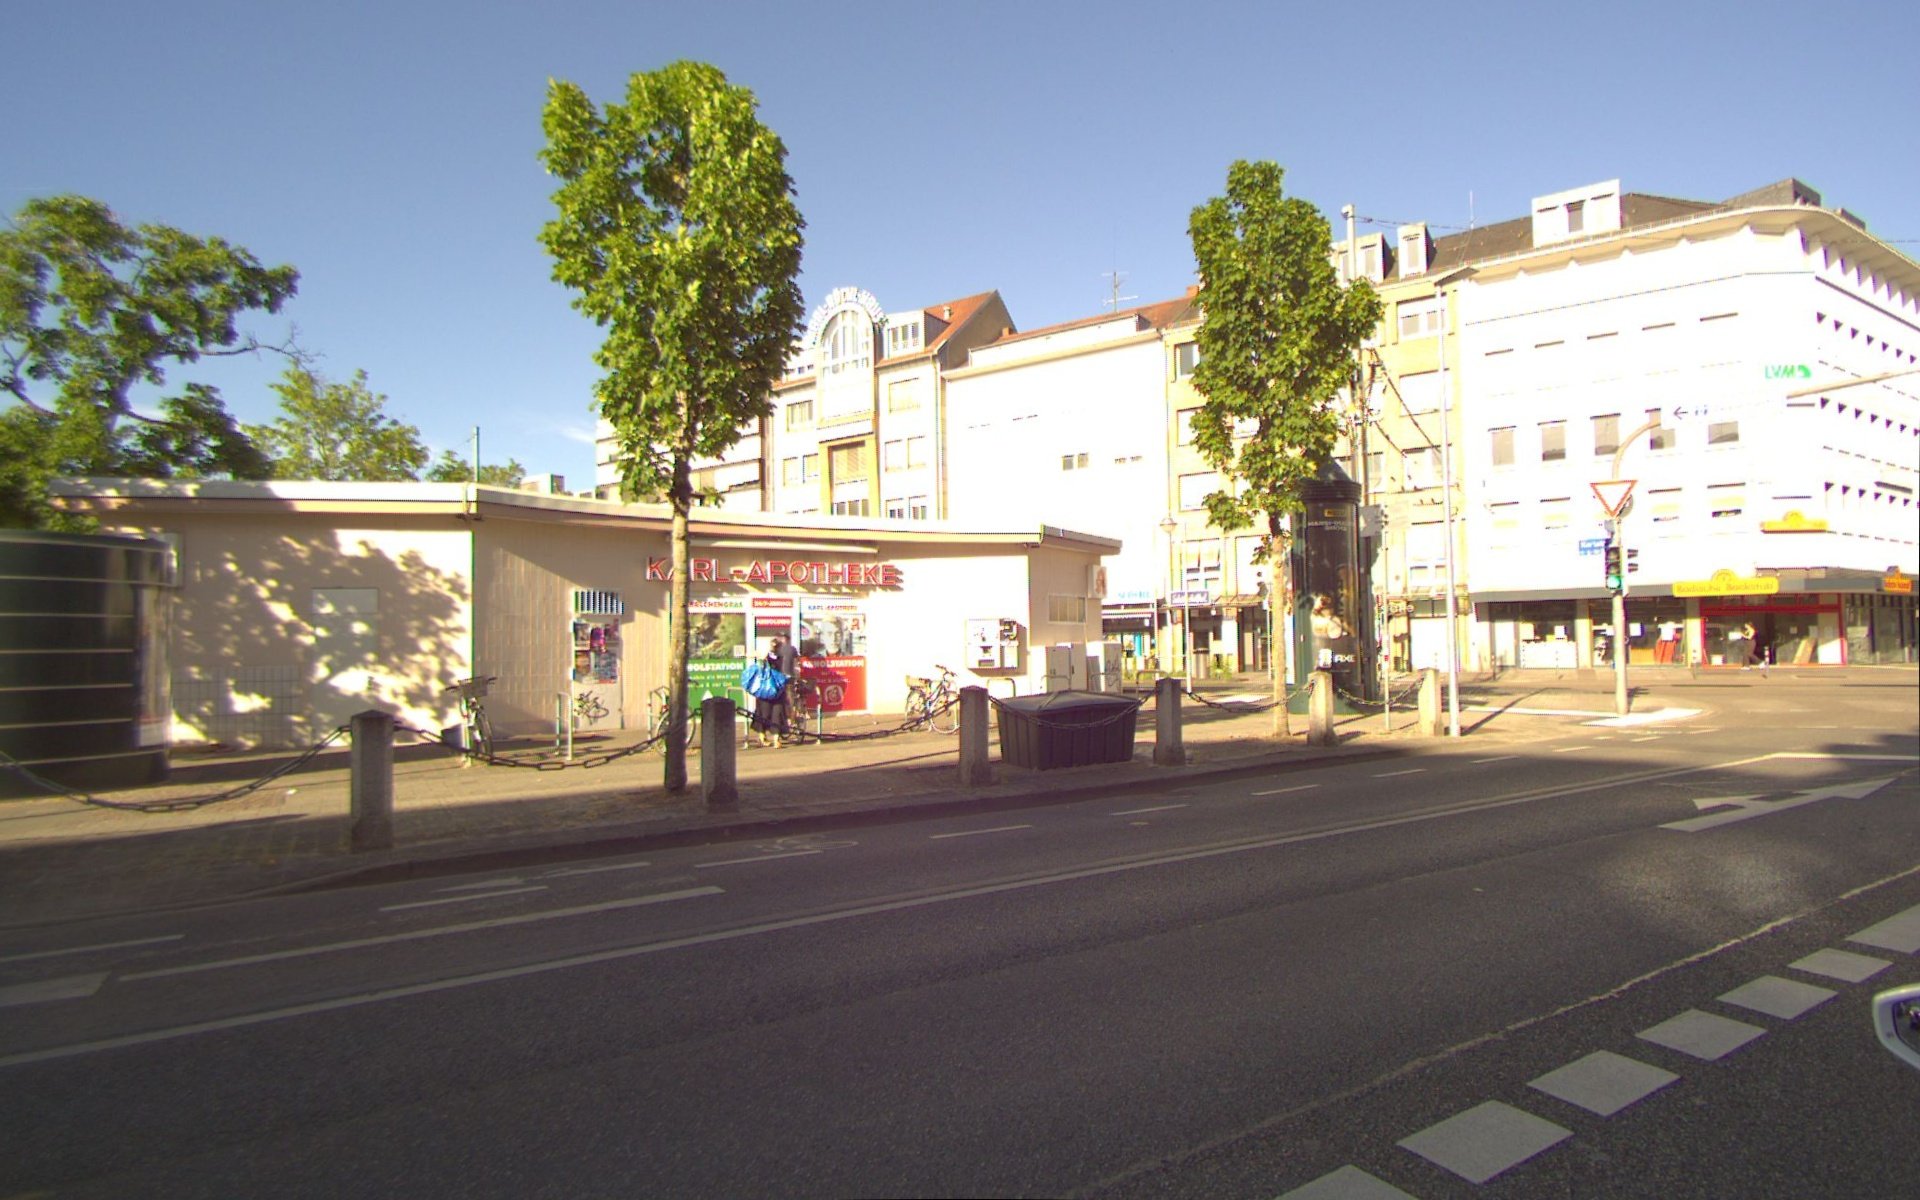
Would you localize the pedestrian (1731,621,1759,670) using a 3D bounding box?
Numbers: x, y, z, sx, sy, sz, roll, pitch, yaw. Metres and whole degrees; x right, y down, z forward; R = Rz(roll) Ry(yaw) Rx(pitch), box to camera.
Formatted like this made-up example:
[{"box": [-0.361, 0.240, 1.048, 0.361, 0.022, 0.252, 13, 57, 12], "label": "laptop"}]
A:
[{"box": [28.258, 1.641, 36.160, 0.705, 1.731, 0.555, 1, -4, -35], "label": "pedestrian"}]

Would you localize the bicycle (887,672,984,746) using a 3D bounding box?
[{"box": [-0.440, 1.772, 16.725, 0.745, 1.102, 1.979, 0, -3, -30], "label": "bicycle"}]

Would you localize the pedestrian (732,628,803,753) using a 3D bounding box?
[{"box": [-2.818, 1.289, 14.630, 0.888, 1.720, 1.082, 0, -2, -18], "label": "pedestrian"}]

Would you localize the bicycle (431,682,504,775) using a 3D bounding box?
[{"box": [-6.347, 1.619, 13.015, 0.754, 1.015, 1.880, 0, -2, -23], "label": "bicycle"}]

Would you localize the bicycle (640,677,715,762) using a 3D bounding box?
[{"box": [-3.958, 1.621, 13.979, 0.754, 1.015, 1.880, 0, -2, -23], "label": "bicycle"}]

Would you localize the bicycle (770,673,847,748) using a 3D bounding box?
[{"box": [-2.372, 1.673, 15.534, 0.874, 1.015, 2.012, 0, -3, -18], "label": "bicycle"}]

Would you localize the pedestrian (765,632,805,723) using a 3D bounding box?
[{"box": [-3.433, 1.510, 19.696, 0.605, 1.731, 0.516, 0, -3, -33], "label": "pedestrian"}]
